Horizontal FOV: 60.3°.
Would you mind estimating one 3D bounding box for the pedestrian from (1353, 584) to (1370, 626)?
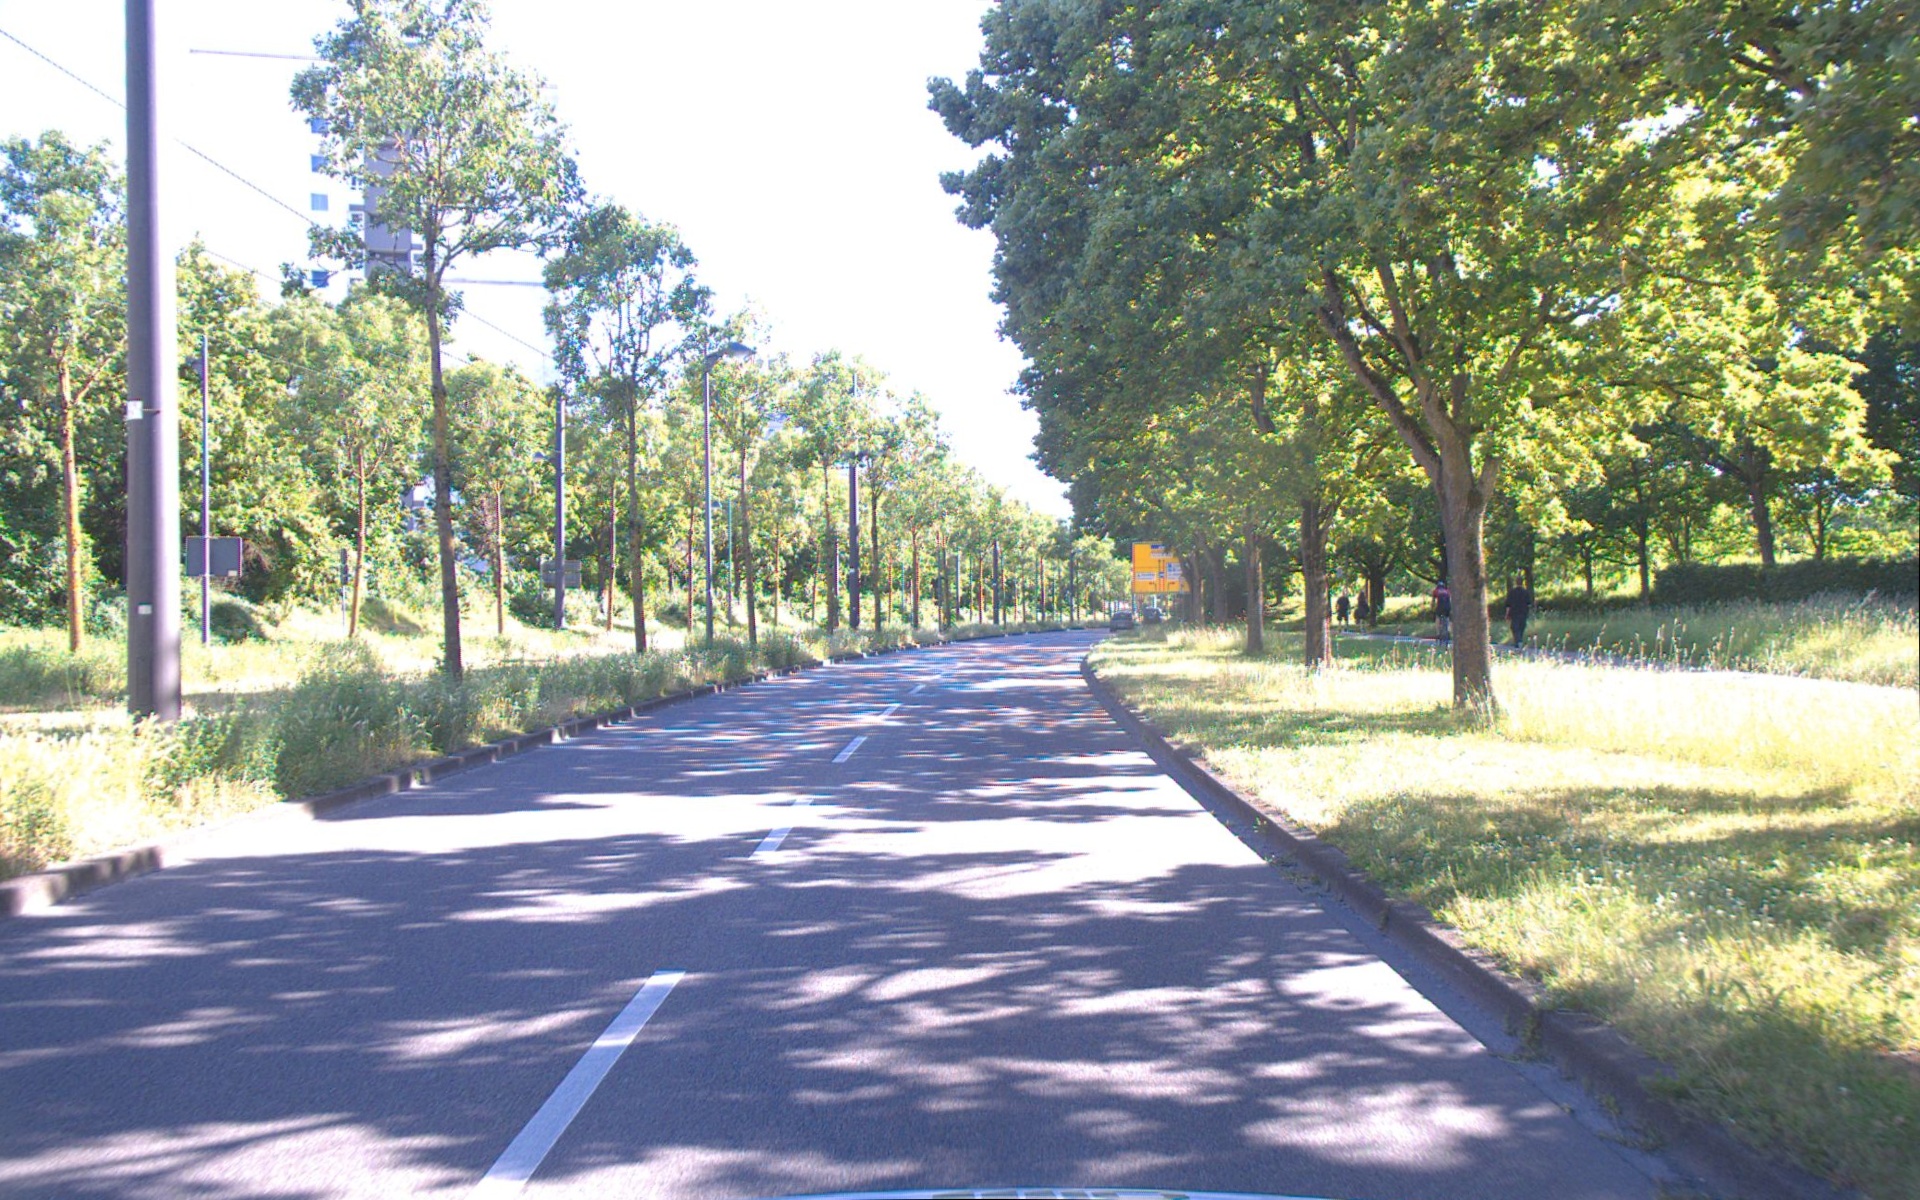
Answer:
[{"bbox_3d":[16.876,0.206,69.497,0.622,1.721,0.844,-1,-1,17],"label":"pedestrian"}]

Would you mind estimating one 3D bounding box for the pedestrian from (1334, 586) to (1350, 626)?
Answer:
[{"bbox_3d":[16.111,0.262,69.745,0.535,1.650,0.844,-1,-1,17],"label":"pedestrian"}]

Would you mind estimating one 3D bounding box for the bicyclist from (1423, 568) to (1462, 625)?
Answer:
[{"bbox_3d":[12.768,-0.078,43.767,0.773,1.476,0.845,-1,-1,3],"label":"bicyclist"}]

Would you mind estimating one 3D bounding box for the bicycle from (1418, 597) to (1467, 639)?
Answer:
[{"bbox_3d":[12.788,0.470,43.886,0.777,1.065,2.143,-1,-1,3],"label":"bicycle"}]

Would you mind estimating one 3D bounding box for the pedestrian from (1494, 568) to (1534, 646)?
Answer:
[{"bbox_3d":[13.205,0.156,39.438,0.700,1.835,0.794,-1,-1,4],"label":"pedestrian"}]

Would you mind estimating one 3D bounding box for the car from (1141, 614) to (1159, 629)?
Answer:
[{"bbox_3d":[19.419,2.200,169.280,1.599,1.524,4.238,0,0,9],"label":"car"}]

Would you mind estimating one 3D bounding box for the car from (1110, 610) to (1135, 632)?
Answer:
[{"bbox_3d":[11.933,1.531,121.117,1.599,1.524,4.238,0,0,8],"label":"car"}]
